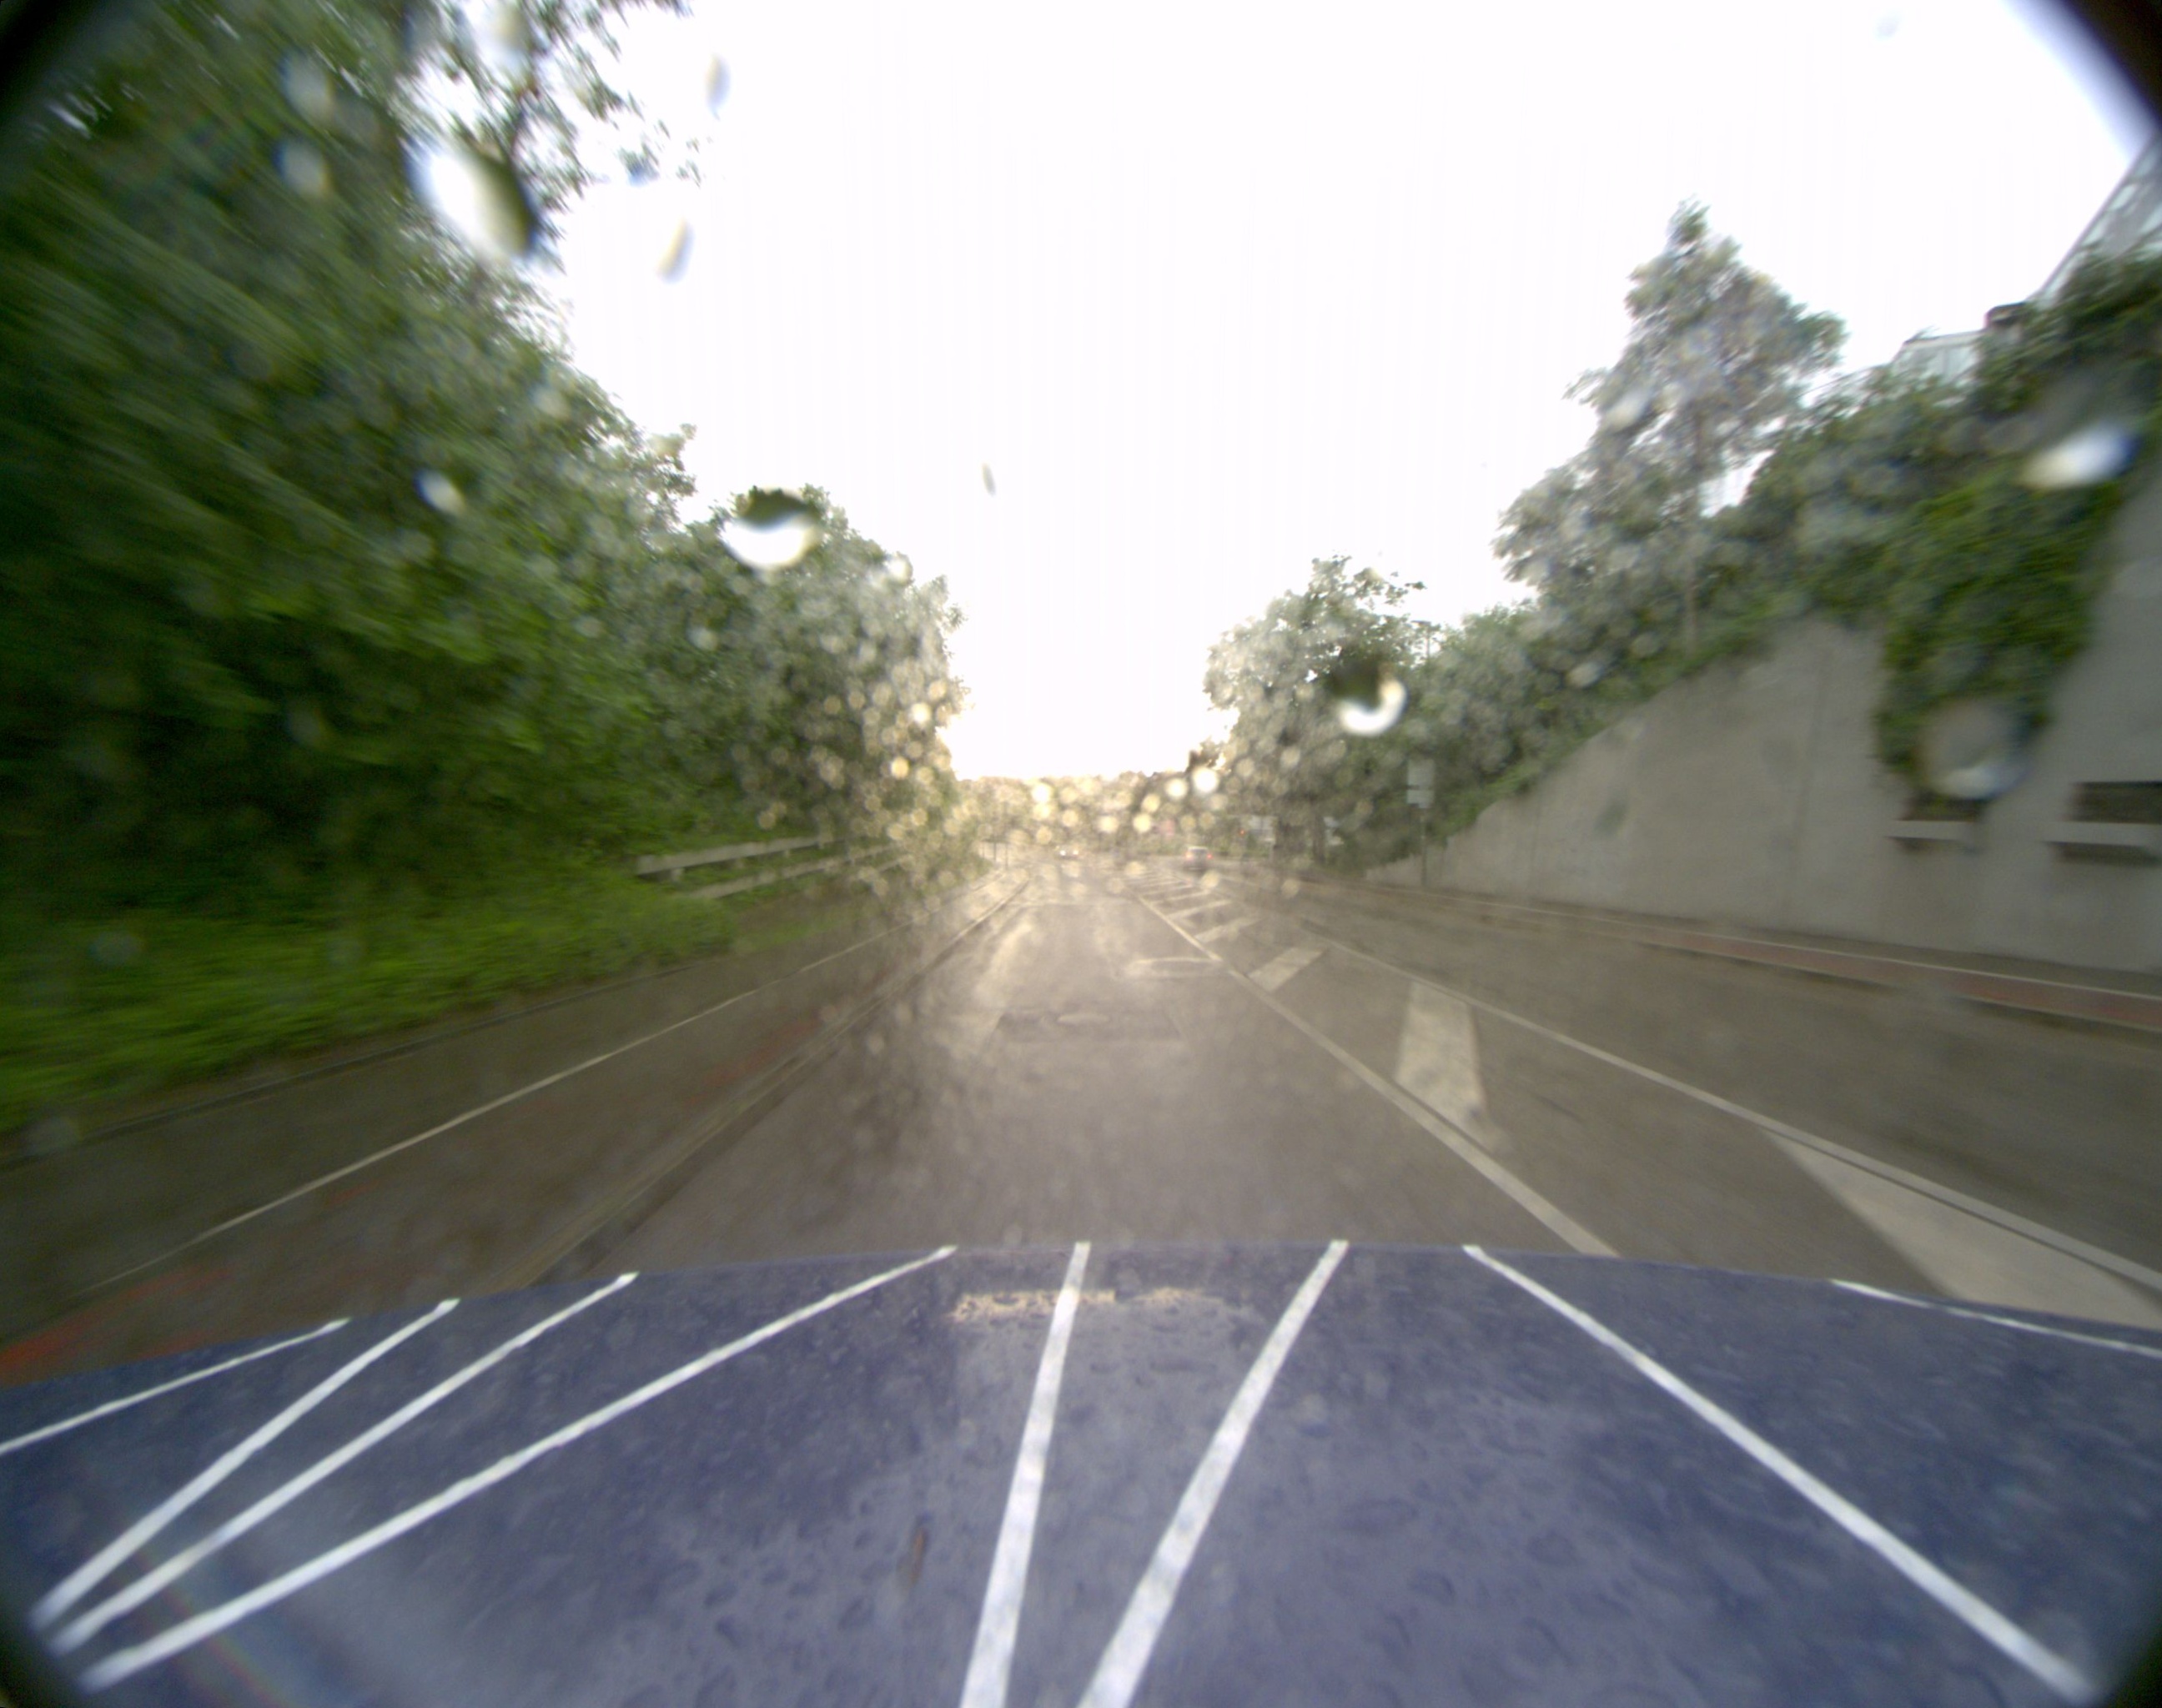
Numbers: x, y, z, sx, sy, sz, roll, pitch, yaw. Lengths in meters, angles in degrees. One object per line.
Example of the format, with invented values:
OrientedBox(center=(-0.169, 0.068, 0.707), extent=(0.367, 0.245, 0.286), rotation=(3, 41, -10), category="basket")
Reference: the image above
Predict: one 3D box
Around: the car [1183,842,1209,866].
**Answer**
OrientedBox(center=(7.247, -0.010, 47.561), extent=(1.515, 1.440, 3.819), rotation=(1, 0, 9), category="car")

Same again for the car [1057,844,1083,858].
OrientedBox(center=(-1.131, -0.294, 77.508), extent=(1.761, 1.387, 3.994), rotation=(1, 1, -15), category="car")
